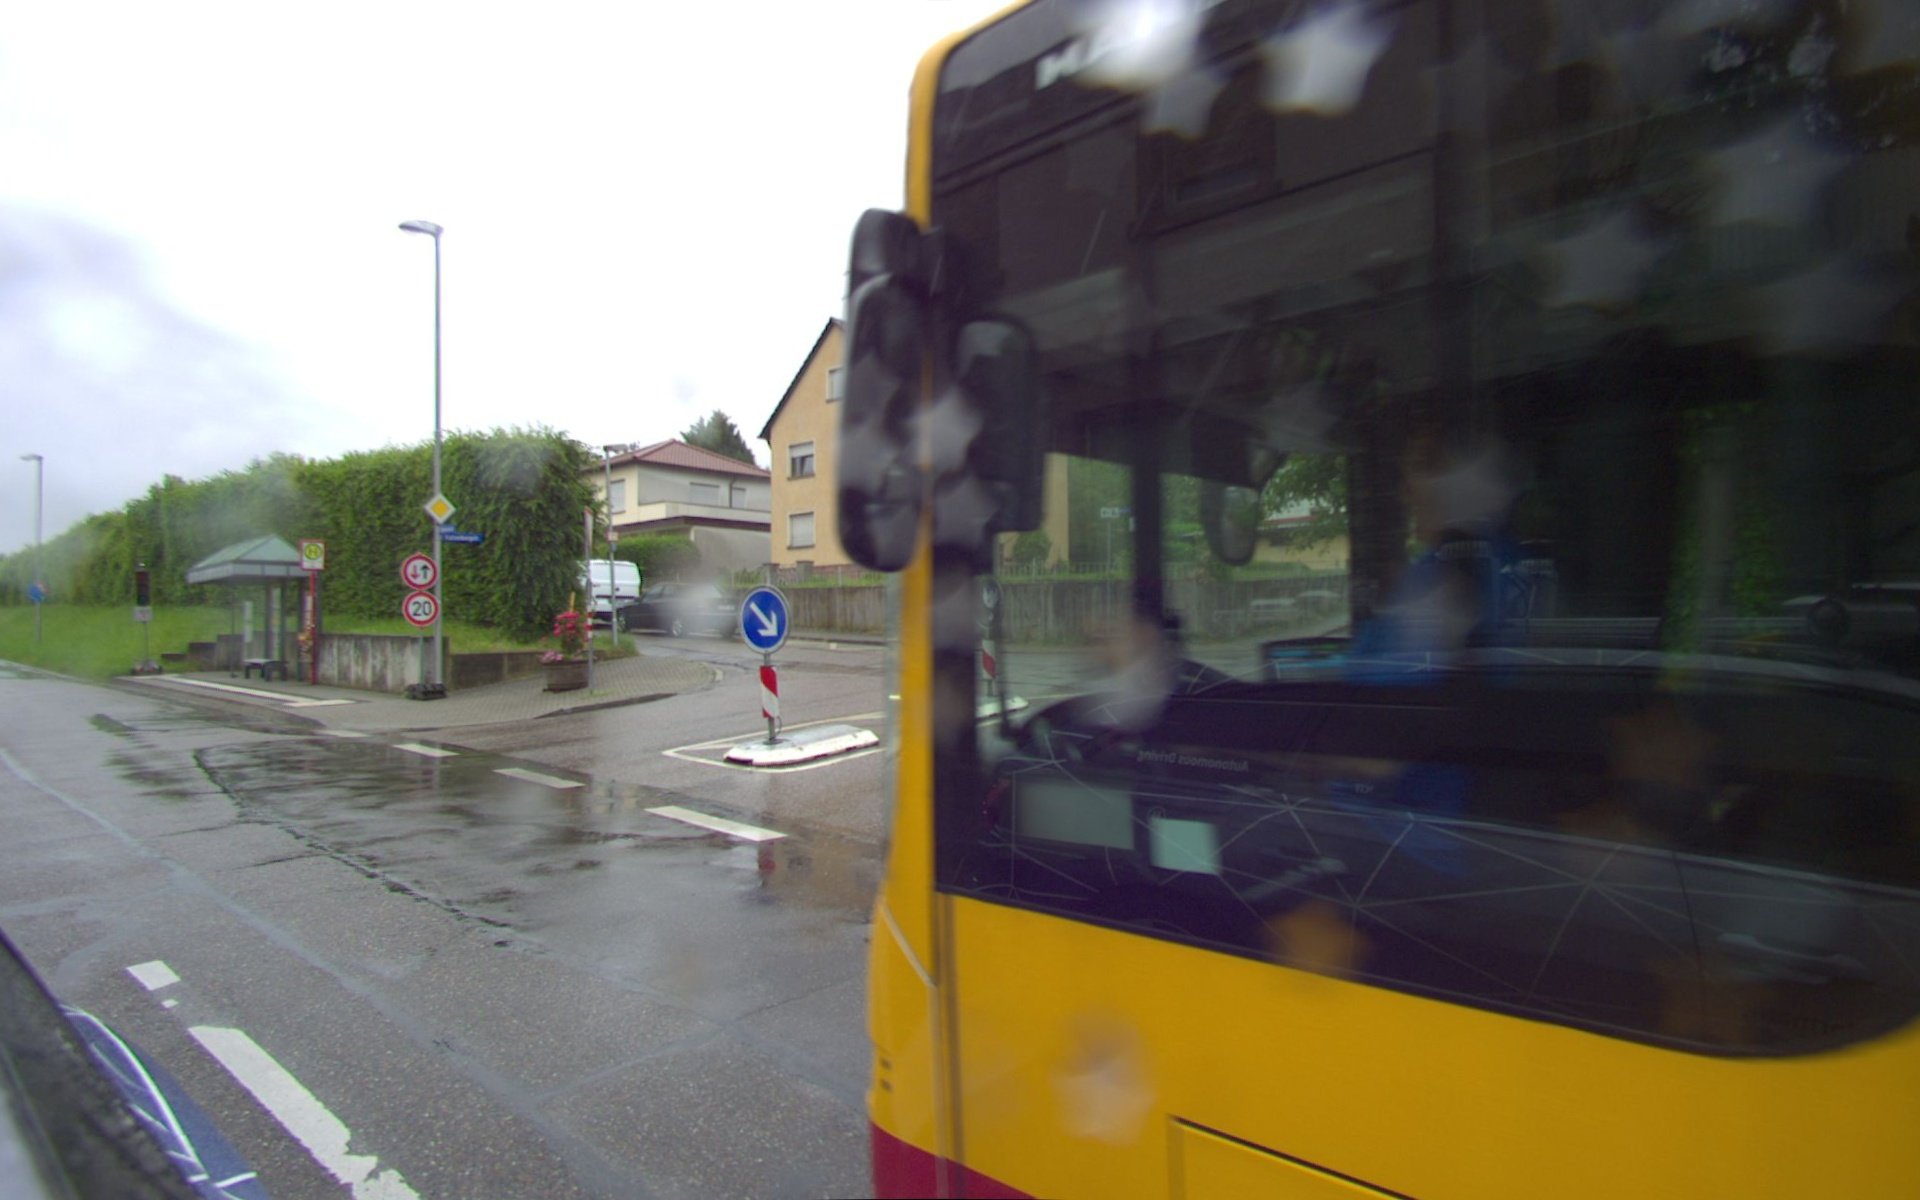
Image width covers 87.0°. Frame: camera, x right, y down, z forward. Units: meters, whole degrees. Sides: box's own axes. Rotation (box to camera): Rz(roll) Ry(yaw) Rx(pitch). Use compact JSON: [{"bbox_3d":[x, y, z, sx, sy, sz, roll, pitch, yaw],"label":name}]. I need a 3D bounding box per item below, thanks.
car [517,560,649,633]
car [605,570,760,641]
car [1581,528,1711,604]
[{"bbox_3d":[-11.465,-0.088,30.666,4.186,2.078,1.973,-1,0,41],"label":"car"},{"bbox_3d":[-7.375,0.147,26.705,4.186,1.728,1.973,-1,0,41],"label":"car"},{"bbox_3d":[17.624,-0.897,25.923,3.943,1.518,2.001,-9,6,-44],"label":"car"}]
